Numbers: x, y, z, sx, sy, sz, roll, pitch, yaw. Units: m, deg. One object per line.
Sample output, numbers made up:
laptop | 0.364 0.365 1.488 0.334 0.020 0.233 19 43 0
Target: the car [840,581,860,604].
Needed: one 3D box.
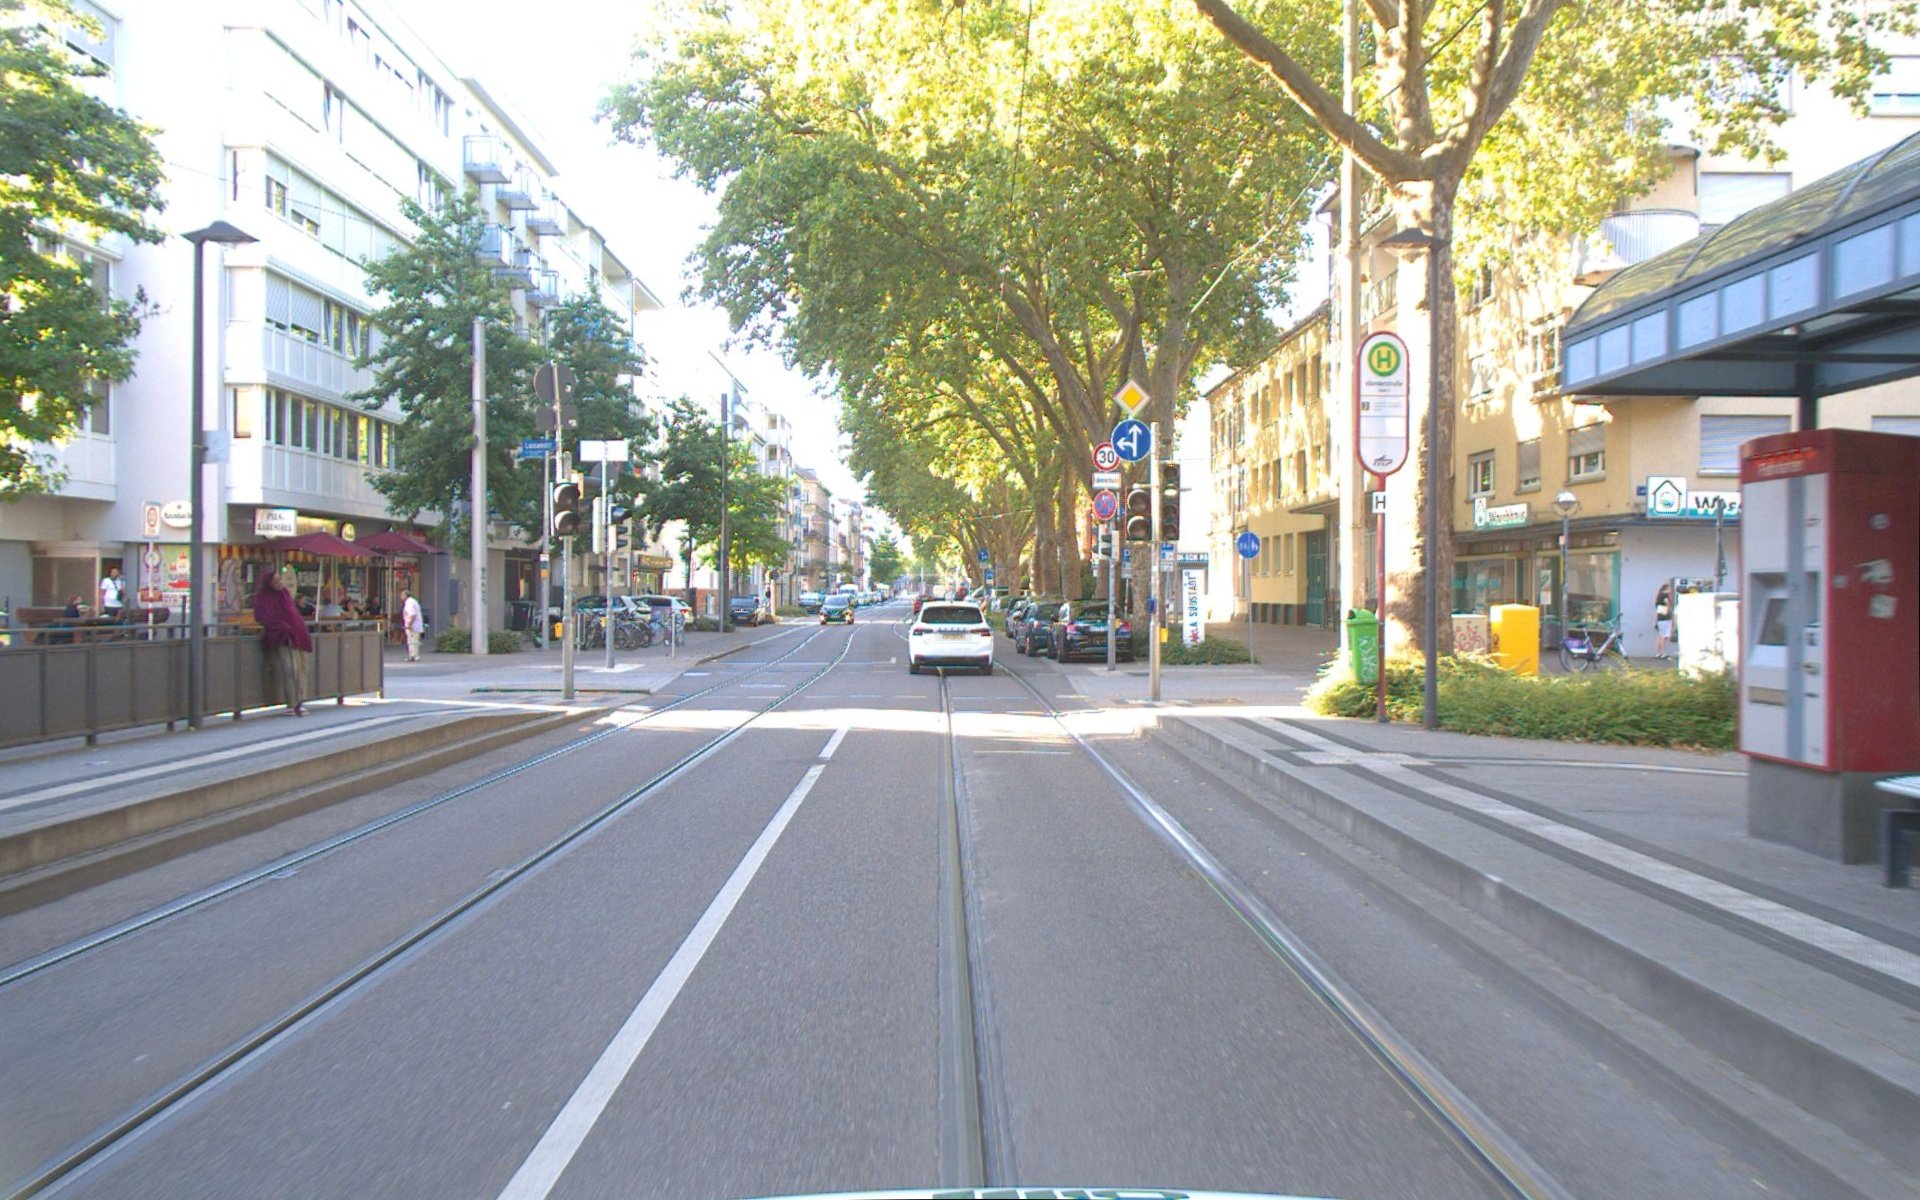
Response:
car | -13.817 -0.959 208.750 2.295 2.911 3.999 0 0 -1

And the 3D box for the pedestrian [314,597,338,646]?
pedestrian | -15.902 0.528 41.490 0.503 1.219 0.561 0 0 -17

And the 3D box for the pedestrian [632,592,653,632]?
pedestrian | -13.499 0.507 70.277 0.748 1.720 0.794 0 0 -3

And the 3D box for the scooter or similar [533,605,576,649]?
scooter or similar | -11.191 0.735 45.666 1.058 1.197 0.498 1 -1 -3

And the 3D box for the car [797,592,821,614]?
car | -12.190 0.243 133.474 1.668 1.679 4.240 2 0 -3

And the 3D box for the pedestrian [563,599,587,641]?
pedestrian | -12.292 0.632 52.811 0.700 1.320 0.744 0 0 -15

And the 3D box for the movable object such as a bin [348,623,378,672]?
movable object such as a bin | -11.846 0.930 32.831 0.530 0.948 0.647 0 0 -18

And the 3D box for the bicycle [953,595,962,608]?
bicycle | -0.221 0.134 142.101 0.636 1.089 1.582 0 0 -3

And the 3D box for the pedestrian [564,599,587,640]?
pedestrian | -12.578 0.633 54.045 0.700 1.320 0.908 0 0 -15

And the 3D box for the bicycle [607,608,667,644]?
bicycle | -9.534 0.775 48.848 1.658 1.025 0.657 1 -1 -6

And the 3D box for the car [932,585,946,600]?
car | -3.288 -1.179 261.022 2.157 2.429 3.999 0 0 -1

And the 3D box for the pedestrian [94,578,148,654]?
pedestrian | -18.747 0.348 36.955 0.731 1.688 0.769 0 0 14

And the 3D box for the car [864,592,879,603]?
car | -13.185 -0.337 246.421 1.953 1.668 3.999 1 0 -1

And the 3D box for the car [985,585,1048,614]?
car | 4.130 -0.027 121.846 4.453 2.113 1.999 0 0 -3

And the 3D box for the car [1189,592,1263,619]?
car | 16.139 0.328 100.456 4.051 1.621 1.997 0 0 -6

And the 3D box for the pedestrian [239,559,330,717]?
pedestrian | -7.041 0.383 17.269 0.640 1.613 0.772 0 0 -1

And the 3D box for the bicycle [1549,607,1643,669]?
bicycle | 13.074 0.774 34.002 1.767 1.177 0.740 -2 0 -23

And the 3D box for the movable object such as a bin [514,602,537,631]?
movable object such as a bin | -15.876 0.603 60.506 0.664 1.074 0.622 0 0 1

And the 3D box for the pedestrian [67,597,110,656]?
pedestrian | -18.929 0.571 35.921 0.741 1.263 0.759 0 0 -35

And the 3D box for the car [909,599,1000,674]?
car | -0.161 0.704 34.055 1.726 1.408 3.998 0 0 -2

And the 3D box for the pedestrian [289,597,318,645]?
pedestrian | -16.599 0.528 41.825 0.557 1.219 0.507 0 0 -36

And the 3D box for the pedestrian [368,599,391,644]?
pedestrian | -15.948 0.593 45.424 0.506 1.219 0.558 0 0 -30

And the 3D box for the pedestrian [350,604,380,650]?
pedestrian | -16.018 0.708 44.556 0.595 1.219 0.683 0 0 -36

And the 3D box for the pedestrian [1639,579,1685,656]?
pedestrian | 15.820 0.389 37.285 0.693 1.712 0.655 0 0 -28

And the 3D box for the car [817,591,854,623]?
car | -6.735 0.372 89.808 1.834 1.617 4.144 2 0 -3

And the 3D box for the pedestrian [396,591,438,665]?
pedestrian | -11.842 0.597 36.078 0.711 1.583 0.768 0 0 -7

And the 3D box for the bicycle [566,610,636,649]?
bicycle | -9.809 0.798 45.269 1.794 1.025 0.657 1 -1 -6

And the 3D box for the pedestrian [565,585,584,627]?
pedestrian | -15.810 0.235 67.875 0.650 1.720 0.748 0 0 -3

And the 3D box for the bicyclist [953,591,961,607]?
bicyclist | -0.229 -0.124 142.114 0.636 1.367 0.934 0 0 -3

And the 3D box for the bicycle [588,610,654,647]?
bicycle | -9.729 0.803 47.490 1.794 1.025 0.657 1 -1 -6

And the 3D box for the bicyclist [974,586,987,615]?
bicyclist | 1.044 0.041 84.135 0.664 1.468 1.047 0 0 0

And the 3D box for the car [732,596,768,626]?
car | -11.289 0.562 89.039 1.680 1.489 4.372 3 0 -5

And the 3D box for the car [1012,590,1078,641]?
car | 2.905 0.529 57.241 1.820 1.631 4.779 -1 -1 -2

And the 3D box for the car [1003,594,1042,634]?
car | 2.520 0.583 67.226 1.531 1.545 2.910 -1 -1 1

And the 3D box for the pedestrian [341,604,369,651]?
pedestrian | -15.798 0.711 43.180 0.501 1.219 0.564 0 0 1

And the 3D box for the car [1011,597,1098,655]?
car | 2.541 0.666 45.285 1.828 1.462 4.222 -1 0 -4

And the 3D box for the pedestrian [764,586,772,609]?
pedestrian | -16.204 -0.213 139.623 0.650 1.858 0.965 0 0 -3

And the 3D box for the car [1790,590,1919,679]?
car | 18.549 0.639 32.246 3.783 1.579 1.866 -1 3 -1

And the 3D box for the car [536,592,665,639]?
car | -12.164 0.513 56.082 3.930 1.501 1.851 1 0 -1

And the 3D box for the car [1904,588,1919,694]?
car | 17.452 0.650 26.335 3.783 1.722 1.866 -1 0 -1

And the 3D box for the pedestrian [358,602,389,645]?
pedestrian | -17.036 0.679 48.048 0.659 1.219 0.655 0 0 -2

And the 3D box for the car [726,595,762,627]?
car | -11.001 0.551 84.259 1.681 1.489 3.993 3 0 -8

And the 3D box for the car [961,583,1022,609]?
car | 3.201 -0.428 168.822 6.008 2.681 2.528 0 0 -3

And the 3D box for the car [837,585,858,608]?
car | -12.885 -0.438 190.097 2.134 2.642 4.948 0 0 -1

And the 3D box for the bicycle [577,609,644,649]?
bicycle | -9.245 0.765 43.798 1.658 1.025 0.657 1 -1 -6

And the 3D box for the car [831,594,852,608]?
car | -12.757 0.100 178.374 1.953 1.557 3.999 0 0 -1

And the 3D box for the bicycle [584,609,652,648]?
bicycle | -9.649 0.806 46.680 1.794 1.082 0.657 1 -1 -6

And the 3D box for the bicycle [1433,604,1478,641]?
bicycle | 13.960 0.618 46.605 0.559 1.014 1.778 -2 0 -5

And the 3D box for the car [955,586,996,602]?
car | 2.374 -0.914 247.652 6.008 2.322 2.528 0 0 -3

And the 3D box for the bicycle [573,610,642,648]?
bicycle | -9.726 0.802 45.712 1.794 1.025 0.657 1 -1 -6

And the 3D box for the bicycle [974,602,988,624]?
bicycle | 1.053 0.659 84.177 0.667 1.089 1.780 0 0 0

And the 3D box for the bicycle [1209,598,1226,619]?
bicycle | 14.134 0.463 90.753 0.571 1.123 1.922 -2 0 -1

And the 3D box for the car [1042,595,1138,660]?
car | 3.102 0.626 40.320 1.729 1.488 5.010 0 0 -2

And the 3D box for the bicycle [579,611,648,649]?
bicycle | -9.706 0.836 46.358 1.794 1.025 0.657 1 -1 -6

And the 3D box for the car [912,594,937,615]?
car | -2.612 0.351 122.492 1.725 1.501 4.000 0 0 -1

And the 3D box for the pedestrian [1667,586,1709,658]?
pedestrian | 15.925 0.473 36.182 0.690 1.566 0.687 0 0 40

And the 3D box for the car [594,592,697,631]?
car | -12.850 0.483 67.761 3.933 1.501 1.850 1 0 -4
